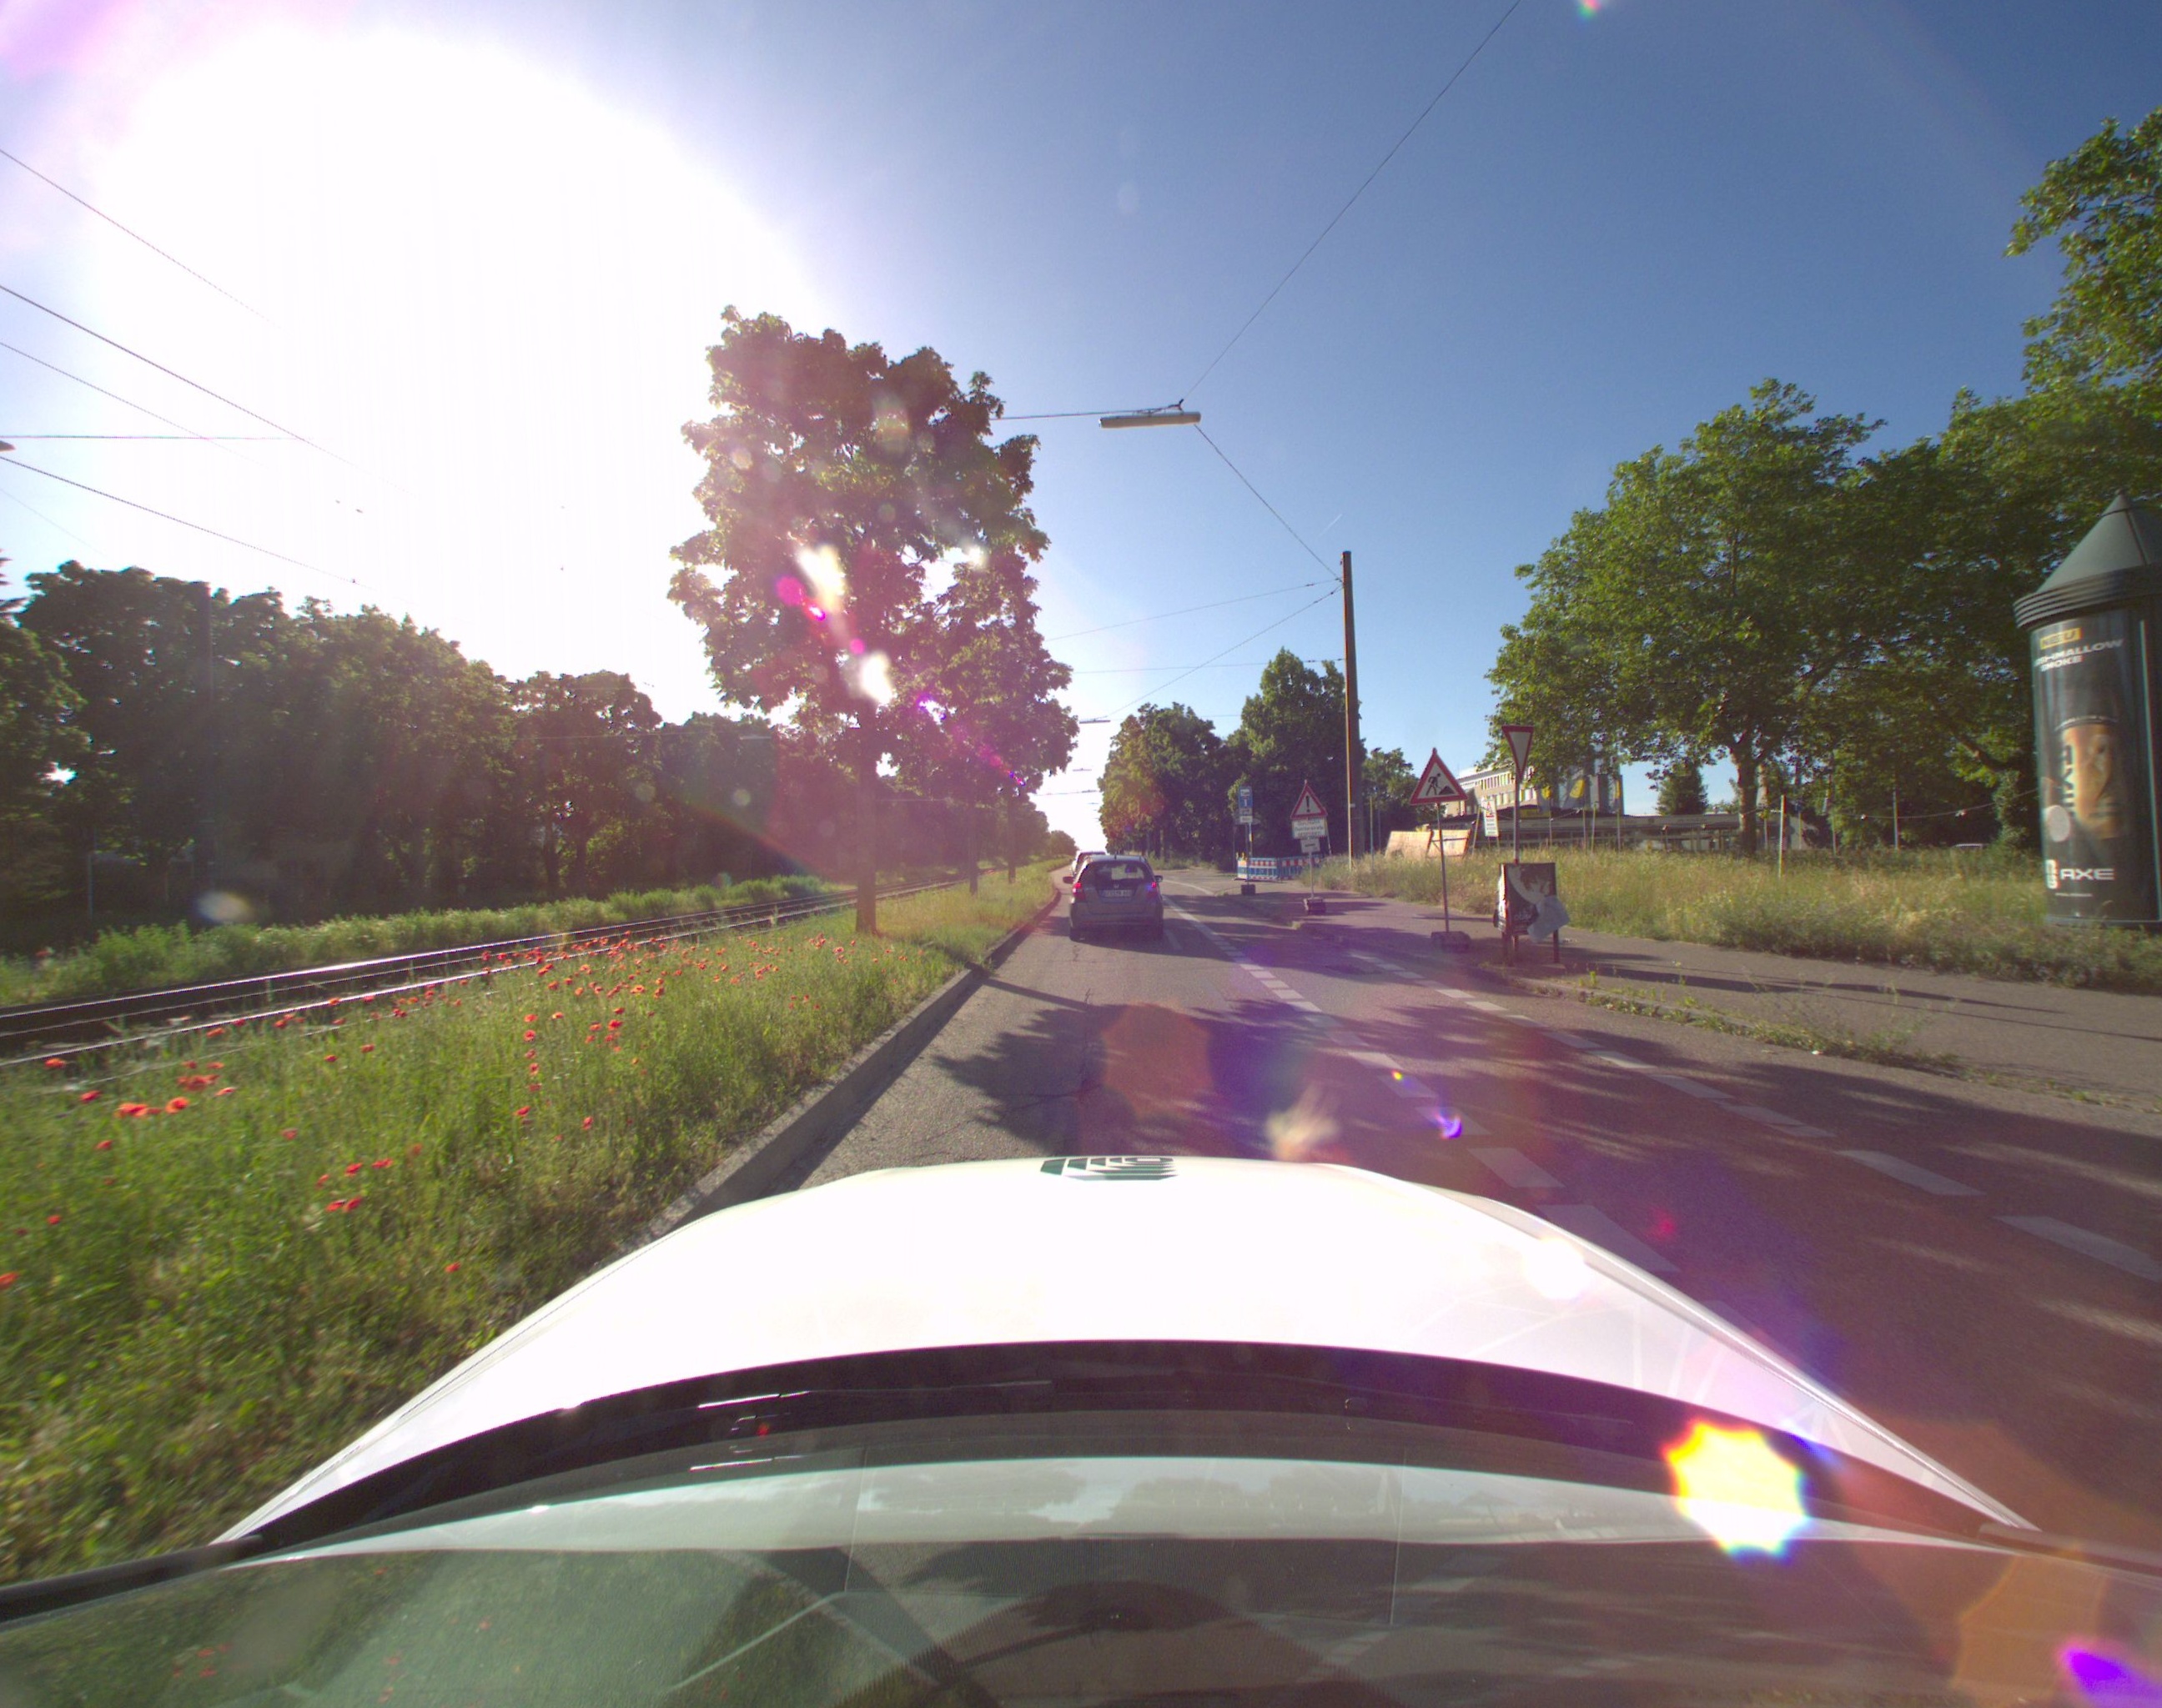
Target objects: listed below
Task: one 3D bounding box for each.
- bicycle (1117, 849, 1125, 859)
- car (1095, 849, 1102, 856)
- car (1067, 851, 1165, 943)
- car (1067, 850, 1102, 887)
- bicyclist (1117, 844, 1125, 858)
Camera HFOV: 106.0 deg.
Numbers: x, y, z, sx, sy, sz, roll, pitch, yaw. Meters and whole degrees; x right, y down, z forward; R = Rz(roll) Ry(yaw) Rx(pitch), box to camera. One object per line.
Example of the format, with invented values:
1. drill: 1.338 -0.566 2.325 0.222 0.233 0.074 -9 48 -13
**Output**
1. bicycle: 4.365 0.038 88.478 0.814 1.048 2.507 -1 -2 3
2. car: 5.343 -0.381 247.775 1.986 2.013 4.003 -4 -1 3
3. car: 0.607 0.721 15.633 1.665 1.515 3.674 0 1 0
4. car: 0.193 0.646 36.511 1.346 1.528 3.125 -2 -1 3
5. bicyclist: 4.371 -0.307 88.507 0.814 1.524 0.966 -1 -2 3
